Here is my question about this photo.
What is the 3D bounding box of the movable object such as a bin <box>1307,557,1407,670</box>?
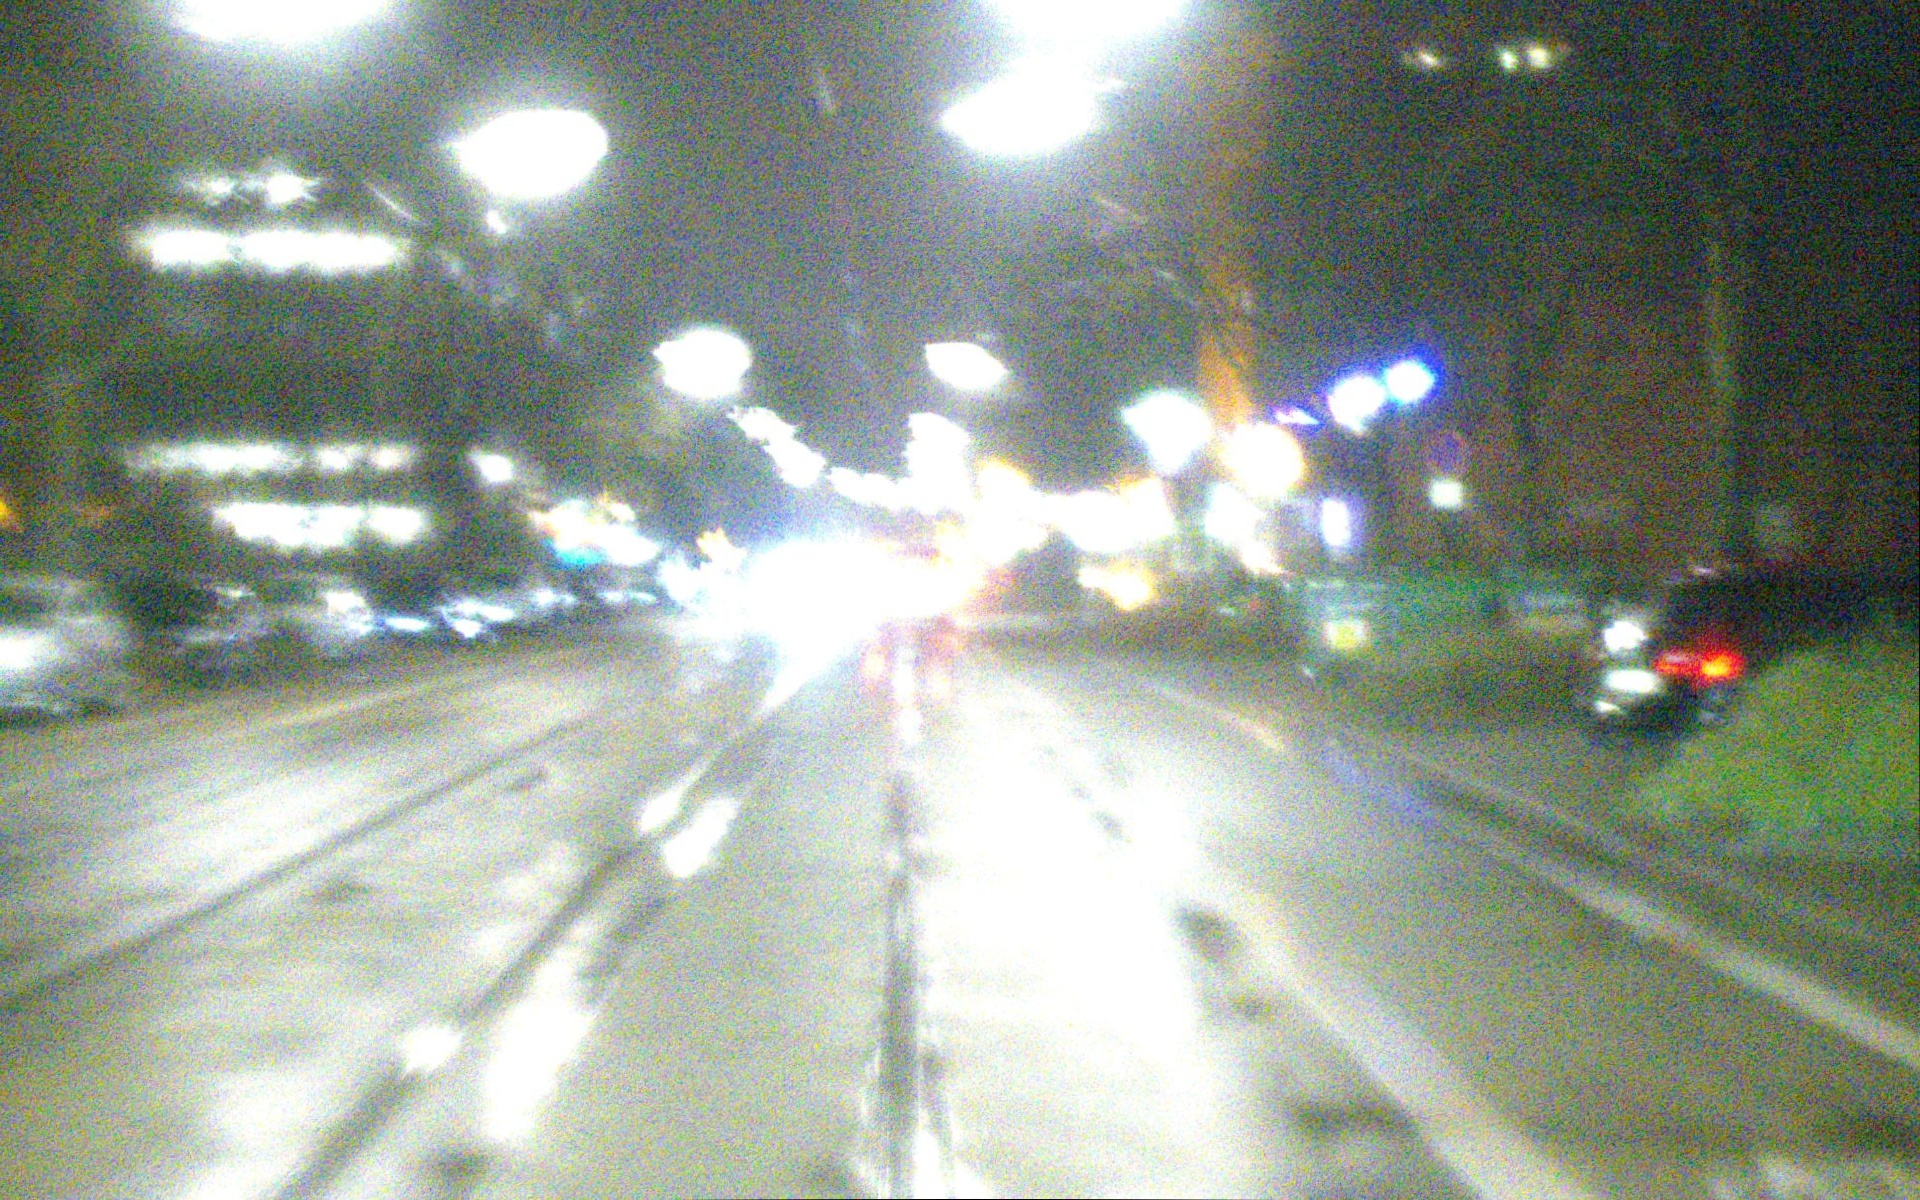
[{"bbox_3d":[5.112,0.173,44.323,1.208,1.417,1.100,-1,0,5],"label":"movable object such as a bin"}]

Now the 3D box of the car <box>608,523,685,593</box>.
[{"bbox_3d":[-11.878,-1.627,130.734,2.185,2.583,6.392,1,1,1],"label":"car"}]

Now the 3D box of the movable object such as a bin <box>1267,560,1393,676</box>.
[{"bbox_3d":[4.624,0.224,43.051,1.321,1.403,1.160,-1,0,-6],"label":"movable object such as a bin"}]

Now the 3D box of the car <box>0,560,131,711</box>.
[{"bbox_3d":[-9.714,0.322,34.967,1.773,1.435,4.609,0,1,-4],"label":"car"}]

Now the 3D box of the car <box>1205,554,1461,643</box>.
[{"bbox_3d":[6.613,-0.018,60.938,4.092,1.532,1.961,0,0,-26],"label":"car"}]

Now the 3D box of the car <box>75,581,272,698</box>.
[{"bbox_3d":[-10.110,0.477,44.455,1.839,1.418,4.210,0,1,-4],"label":"car"}]

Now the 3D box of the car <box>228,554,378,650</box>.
[{"bbox_3d":[-10.453,0.010,55.011,1.887,1.458,4.961,0,1,-5],"label":"car"}]

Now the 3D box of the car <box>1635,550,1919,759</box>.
[{"bbox_3d":[7.346,0.377,26.905,3.692,1.513,1.659,-1,1,-19],"label":"car"}]

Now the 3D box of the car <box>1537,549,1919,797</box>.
[{"bbox_3d":[6.280,0.409,22.589,4.584,1.470,1.840,-1,1,-20],"label":"car"}]

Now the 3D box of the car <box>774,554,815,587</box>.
[{"bbox_3d":[-7.901,-1.431,164.209,1.776,1.512,4.051,1,1,-1],"label":"car"}]

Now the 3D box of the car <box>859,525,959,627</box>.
[{"bbox_3d":[-1.242,-0.569,81.549,2.244,2.353,4.394,1,0,-2],"label":"car"}]

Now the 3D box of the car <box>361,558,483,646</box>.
[{"bbox_3d":[-10.453,0.017,67.074,1.880,1.540,4.400,4,0,-4],"label":"car"}]

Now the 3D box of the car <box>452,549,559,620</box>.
[{"bbox_3d":[-10.671,-0.371,80.950,1.983,1.625,4.517,1,0,-1],"label":"car"}]
